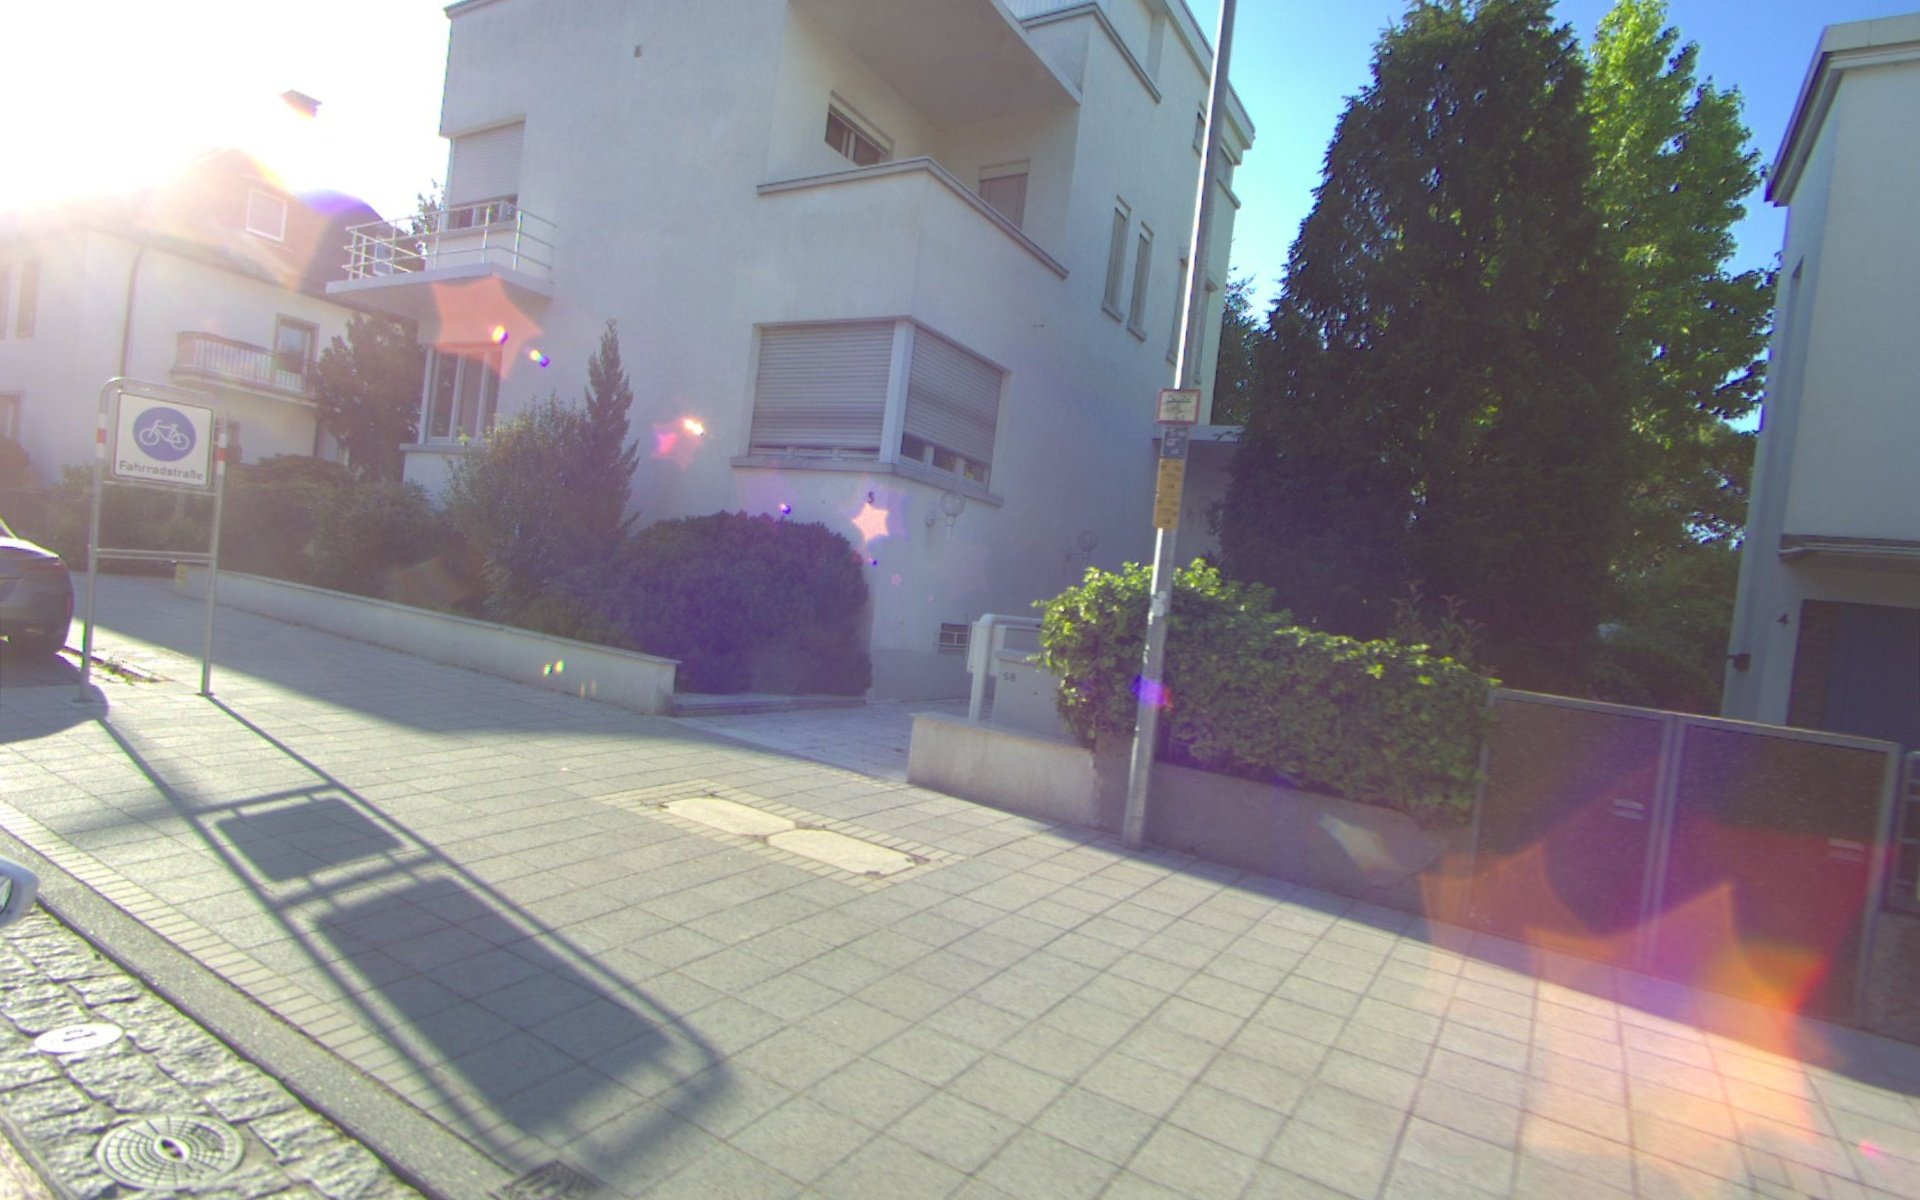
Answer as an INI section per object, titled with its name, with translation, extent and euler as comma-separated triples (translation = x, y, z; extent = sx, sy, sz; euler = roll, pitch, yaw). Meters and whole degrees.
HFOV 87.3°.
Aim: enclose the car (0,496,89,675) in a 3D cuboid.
[car]
translation = -9.313, -0.321, 8.547
extent = 4.202, 1.306, 1.774
euler = 8, 3, 33
